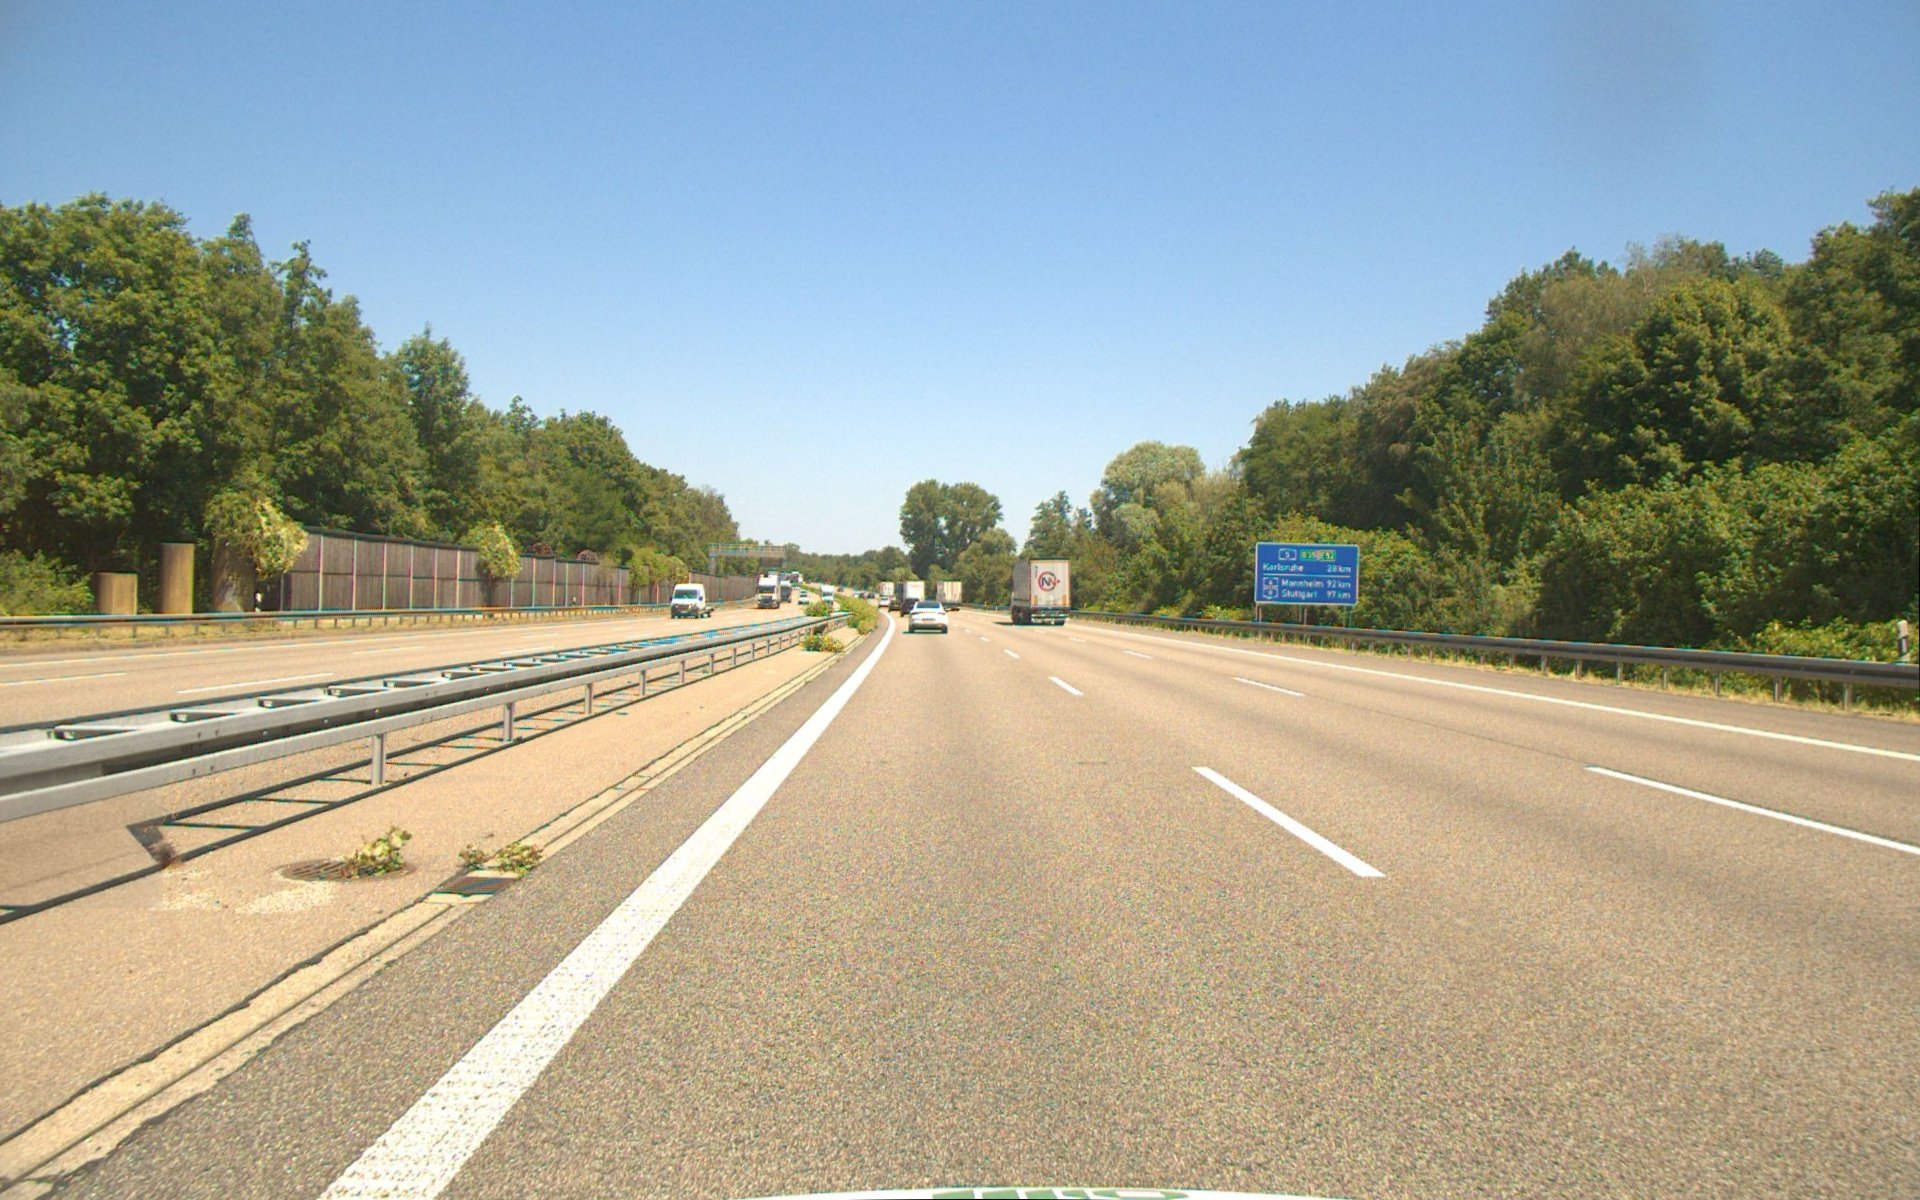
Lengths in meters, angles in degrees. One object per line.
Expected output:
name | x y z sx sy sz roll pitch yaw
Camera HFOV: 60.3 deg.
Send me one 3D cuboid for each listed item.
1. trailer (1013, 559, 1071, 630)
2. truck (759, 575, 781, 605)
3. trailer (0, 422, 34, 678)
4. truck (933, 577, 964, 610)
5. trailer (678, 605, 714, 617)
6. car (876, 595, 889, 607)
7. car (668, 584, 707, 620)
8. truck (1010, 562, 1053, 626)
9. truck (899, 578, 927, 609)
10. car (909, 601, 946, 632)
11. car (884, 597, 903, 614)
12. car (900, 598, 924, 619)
trailer | 5.274 -0.375 108.721 2.571 4.335 14.054 1 0 -2
truck | -25.440 -1.340 221.517 2.633 3.963 5.569 1 0 -3
trailer | -16.752 -0.807 20.615 2.629 4.139 14.048 1 0 -1
truck | -1.651 -0.853 225.181 3.424 4.386 10.977 1 0 -5
trailer | -19.664 0.825 123.488 2.119 0.821 6.276 0 0 -4
car | -11.834 0.192 252.173 1.691 1.814 3.995 0 0 -6
car | -19.339 0.151 117.636 1.983 2.473 5.411 0 0 -2
truck | 4.988 -0.401 116.219 2.553 4.362 5.433 1 0 -3
truck | -6.813 -0.900 240.431 3.295 4.386 10.815 1 0 -6
car | -1.489 0.770 76.842 1.680 1.393 3.374 0 0 -1
car | -8.068 0.661 199.803 1.955 2.049 3.995 0 0 -6
car | -4.374 0.777 150.252 1.955 1.803 3.995 0 0 -6
